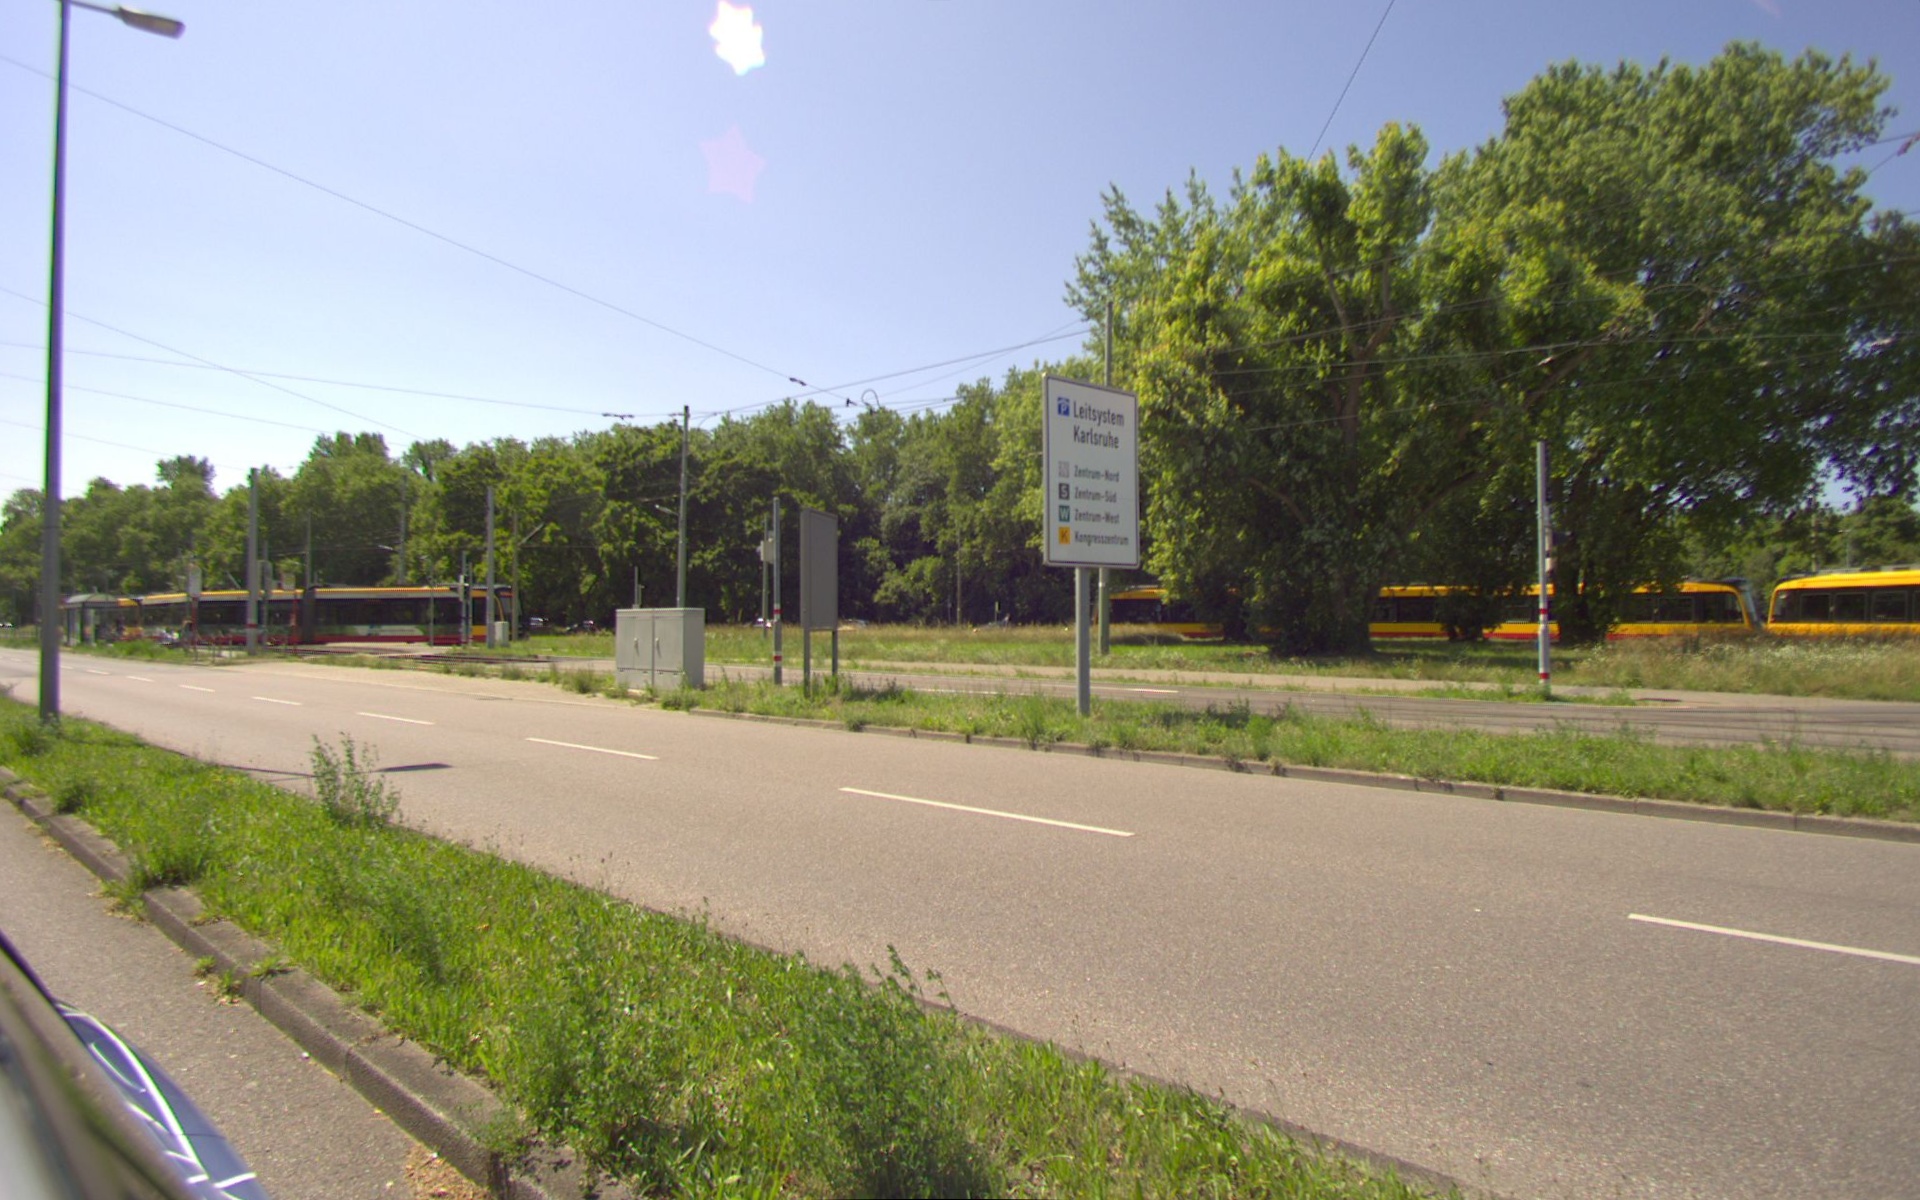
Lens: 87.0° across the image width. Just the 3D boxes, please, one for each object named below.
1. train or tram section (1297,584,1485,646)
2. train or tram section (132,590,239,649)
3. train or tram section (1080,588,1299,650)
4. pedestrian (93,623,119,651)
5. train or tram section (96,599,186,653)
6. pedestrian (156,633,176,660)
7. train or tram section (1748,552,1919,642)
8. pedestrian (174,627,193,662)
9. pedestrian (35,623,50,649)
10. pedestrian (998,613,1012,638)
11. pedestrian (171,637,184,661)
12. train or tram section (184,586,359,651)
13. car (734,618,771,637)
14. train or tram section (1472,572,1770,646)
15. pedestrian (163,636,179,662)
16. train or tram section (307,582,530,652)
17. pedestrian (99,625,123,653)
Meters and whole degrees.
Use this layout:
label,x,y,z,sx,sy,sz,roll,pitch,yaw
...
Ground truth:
label,x,y,z,sx,sy,sz,roll,pitch,yaw
train or tram section,25.863,0.942,61.037,10.171,3.492,3.019,-2,0,27
train or tram section,-52.597,1.368,68.499,13.889,3.652,3.012,-2,0,41
train or tram section,14.252,1.185,63.939,13.105,3.492,3.040,-2,0,7
pedestrian,-48.177,2.096,57.088,0.984,1.558,0.921,-2,0,38
train or tram section,-62.792,1.977,77.414,13.254,3.795,3.012,-2,0,41
pedestrian,-36.665,2.151,46.733,0.535,1.198,0.575,-2,0,36
train or tram section,38.900,-0.139,41.124,3.001,3.492,12.761,-1,0,-4
pedestrian,-35.372,2.024,46.113,0.582,1.577,0.529,-2,-1,39
pedestrian,-63.858,2.493,70.434,0.775,1.804,0.625,-2,-1,39
pedestrian,2.944,1.660,66.541,0.778,1.586,0.692,-1,0,-6
pedestrian,-35.852,2.259,46.359,0.377,1.066,0.379,-2,-1,39
train or tram section,-42.193,1.187,61.845,12.381,3.652,3.028,-2,0,26
car,-18.556,2.471,90.688,3.057,1.608,1.376,-2,0,27
train or tram section,34.275,0.518,53.309,3.000,3.492,12.764,-1,0,-43
pedestrian,-36.249,2.250,46.506,0.400,1.198,0.489,-2,-1,37
train or tram section,-31.098,0.984,58.135,12.327,3.652,3.041,-2,0,13
pedestrian,-47.317,2.190,56.404,0.878,1.519,0.826,-2,-1,39
